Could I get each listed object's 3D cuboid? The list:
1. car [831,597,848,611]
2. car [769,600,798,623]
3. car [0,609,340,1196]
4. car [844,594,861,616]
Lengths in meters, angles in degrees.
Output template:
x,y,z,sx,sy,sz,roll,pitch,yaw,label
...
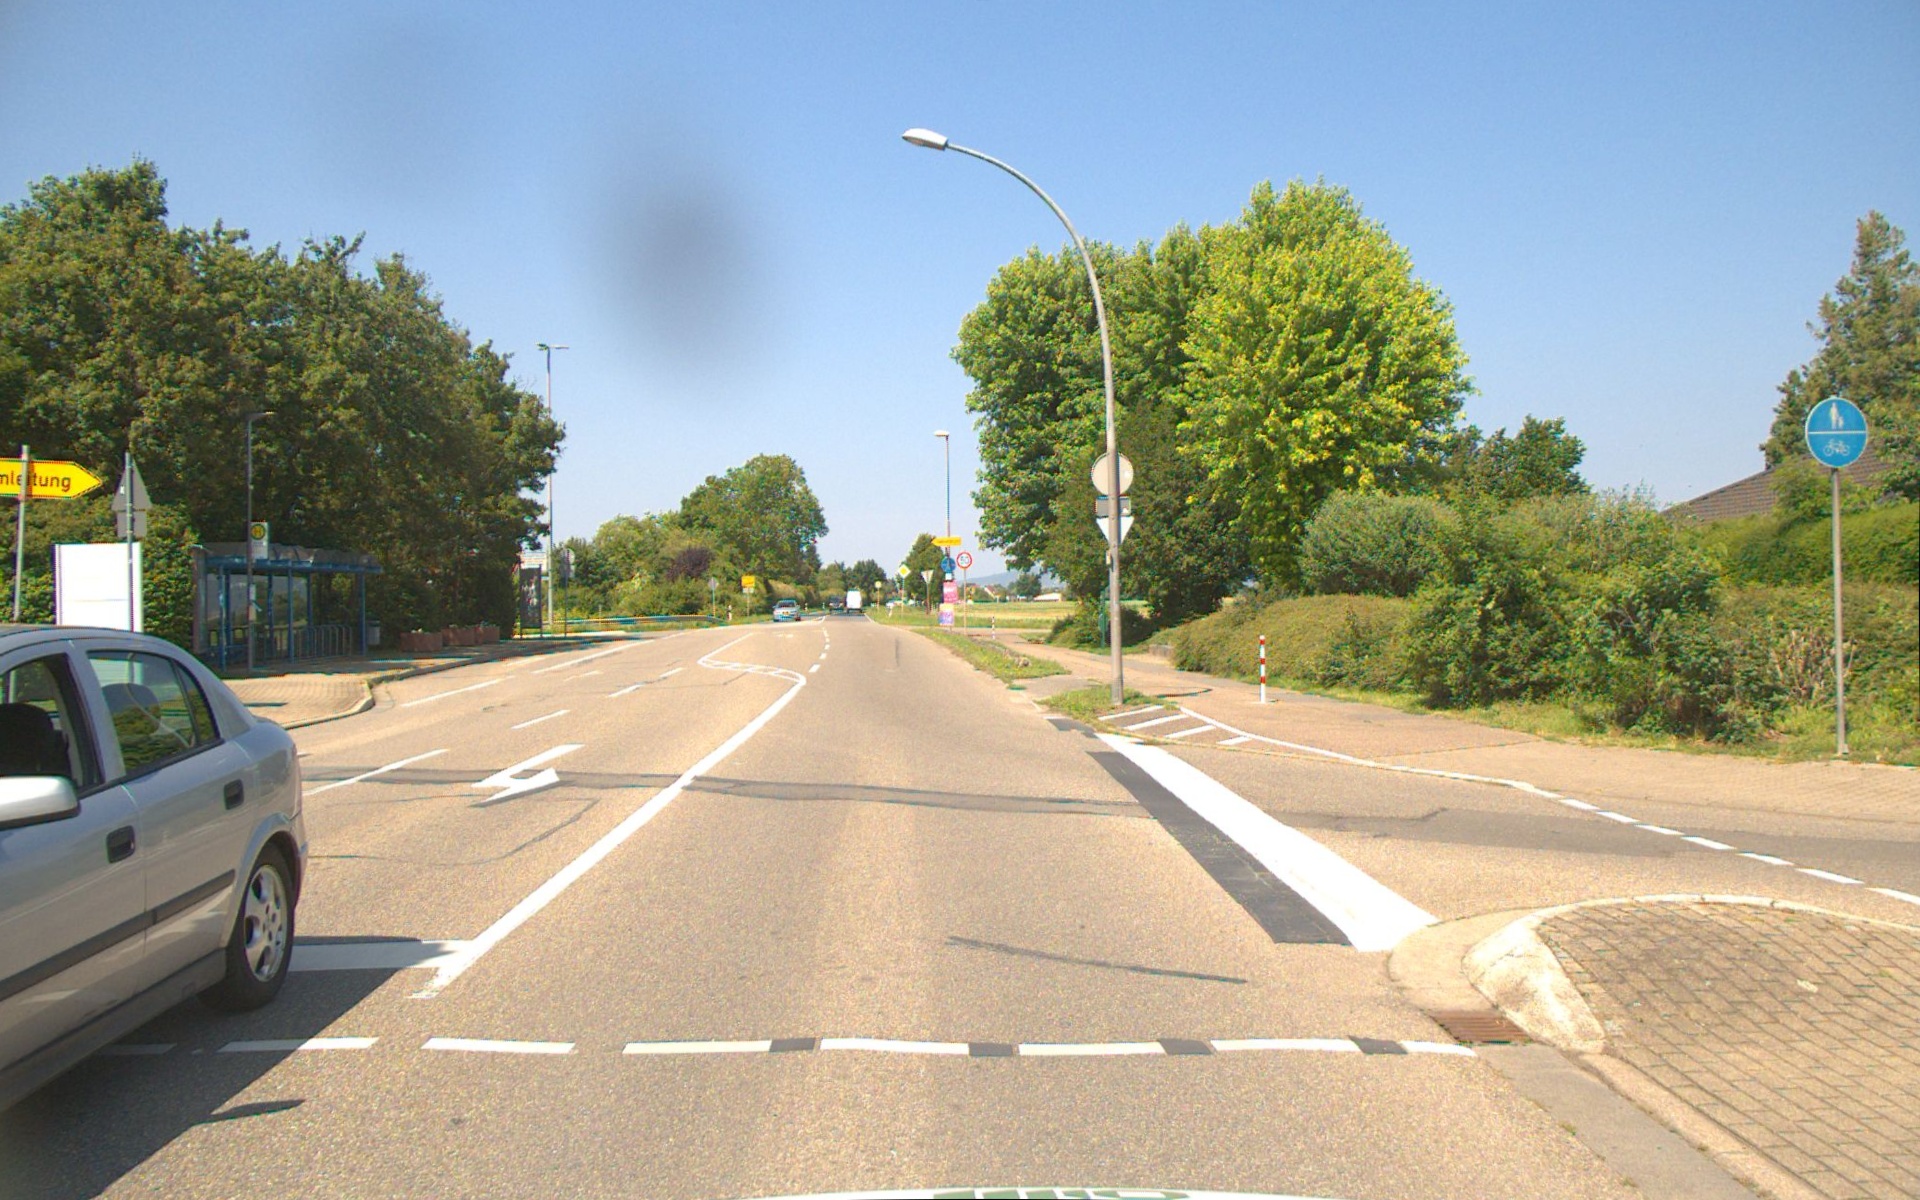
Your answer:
x,y,z,sx,sy,sz,roll,pitch,yaw,label
-17.348,0.608,237.356,2.104,1.985,5.238,-1,0,-8,car
-12.192,0.793,114.589,1.603,1.496,4.415,-1,0,-1,car
-3.217,0.760,4.552,1.665,1.428,3.977,-1,0,-3,car
-13.940,0.631,214.574,1.956,2.697,3.993,-1,0,-8,car
